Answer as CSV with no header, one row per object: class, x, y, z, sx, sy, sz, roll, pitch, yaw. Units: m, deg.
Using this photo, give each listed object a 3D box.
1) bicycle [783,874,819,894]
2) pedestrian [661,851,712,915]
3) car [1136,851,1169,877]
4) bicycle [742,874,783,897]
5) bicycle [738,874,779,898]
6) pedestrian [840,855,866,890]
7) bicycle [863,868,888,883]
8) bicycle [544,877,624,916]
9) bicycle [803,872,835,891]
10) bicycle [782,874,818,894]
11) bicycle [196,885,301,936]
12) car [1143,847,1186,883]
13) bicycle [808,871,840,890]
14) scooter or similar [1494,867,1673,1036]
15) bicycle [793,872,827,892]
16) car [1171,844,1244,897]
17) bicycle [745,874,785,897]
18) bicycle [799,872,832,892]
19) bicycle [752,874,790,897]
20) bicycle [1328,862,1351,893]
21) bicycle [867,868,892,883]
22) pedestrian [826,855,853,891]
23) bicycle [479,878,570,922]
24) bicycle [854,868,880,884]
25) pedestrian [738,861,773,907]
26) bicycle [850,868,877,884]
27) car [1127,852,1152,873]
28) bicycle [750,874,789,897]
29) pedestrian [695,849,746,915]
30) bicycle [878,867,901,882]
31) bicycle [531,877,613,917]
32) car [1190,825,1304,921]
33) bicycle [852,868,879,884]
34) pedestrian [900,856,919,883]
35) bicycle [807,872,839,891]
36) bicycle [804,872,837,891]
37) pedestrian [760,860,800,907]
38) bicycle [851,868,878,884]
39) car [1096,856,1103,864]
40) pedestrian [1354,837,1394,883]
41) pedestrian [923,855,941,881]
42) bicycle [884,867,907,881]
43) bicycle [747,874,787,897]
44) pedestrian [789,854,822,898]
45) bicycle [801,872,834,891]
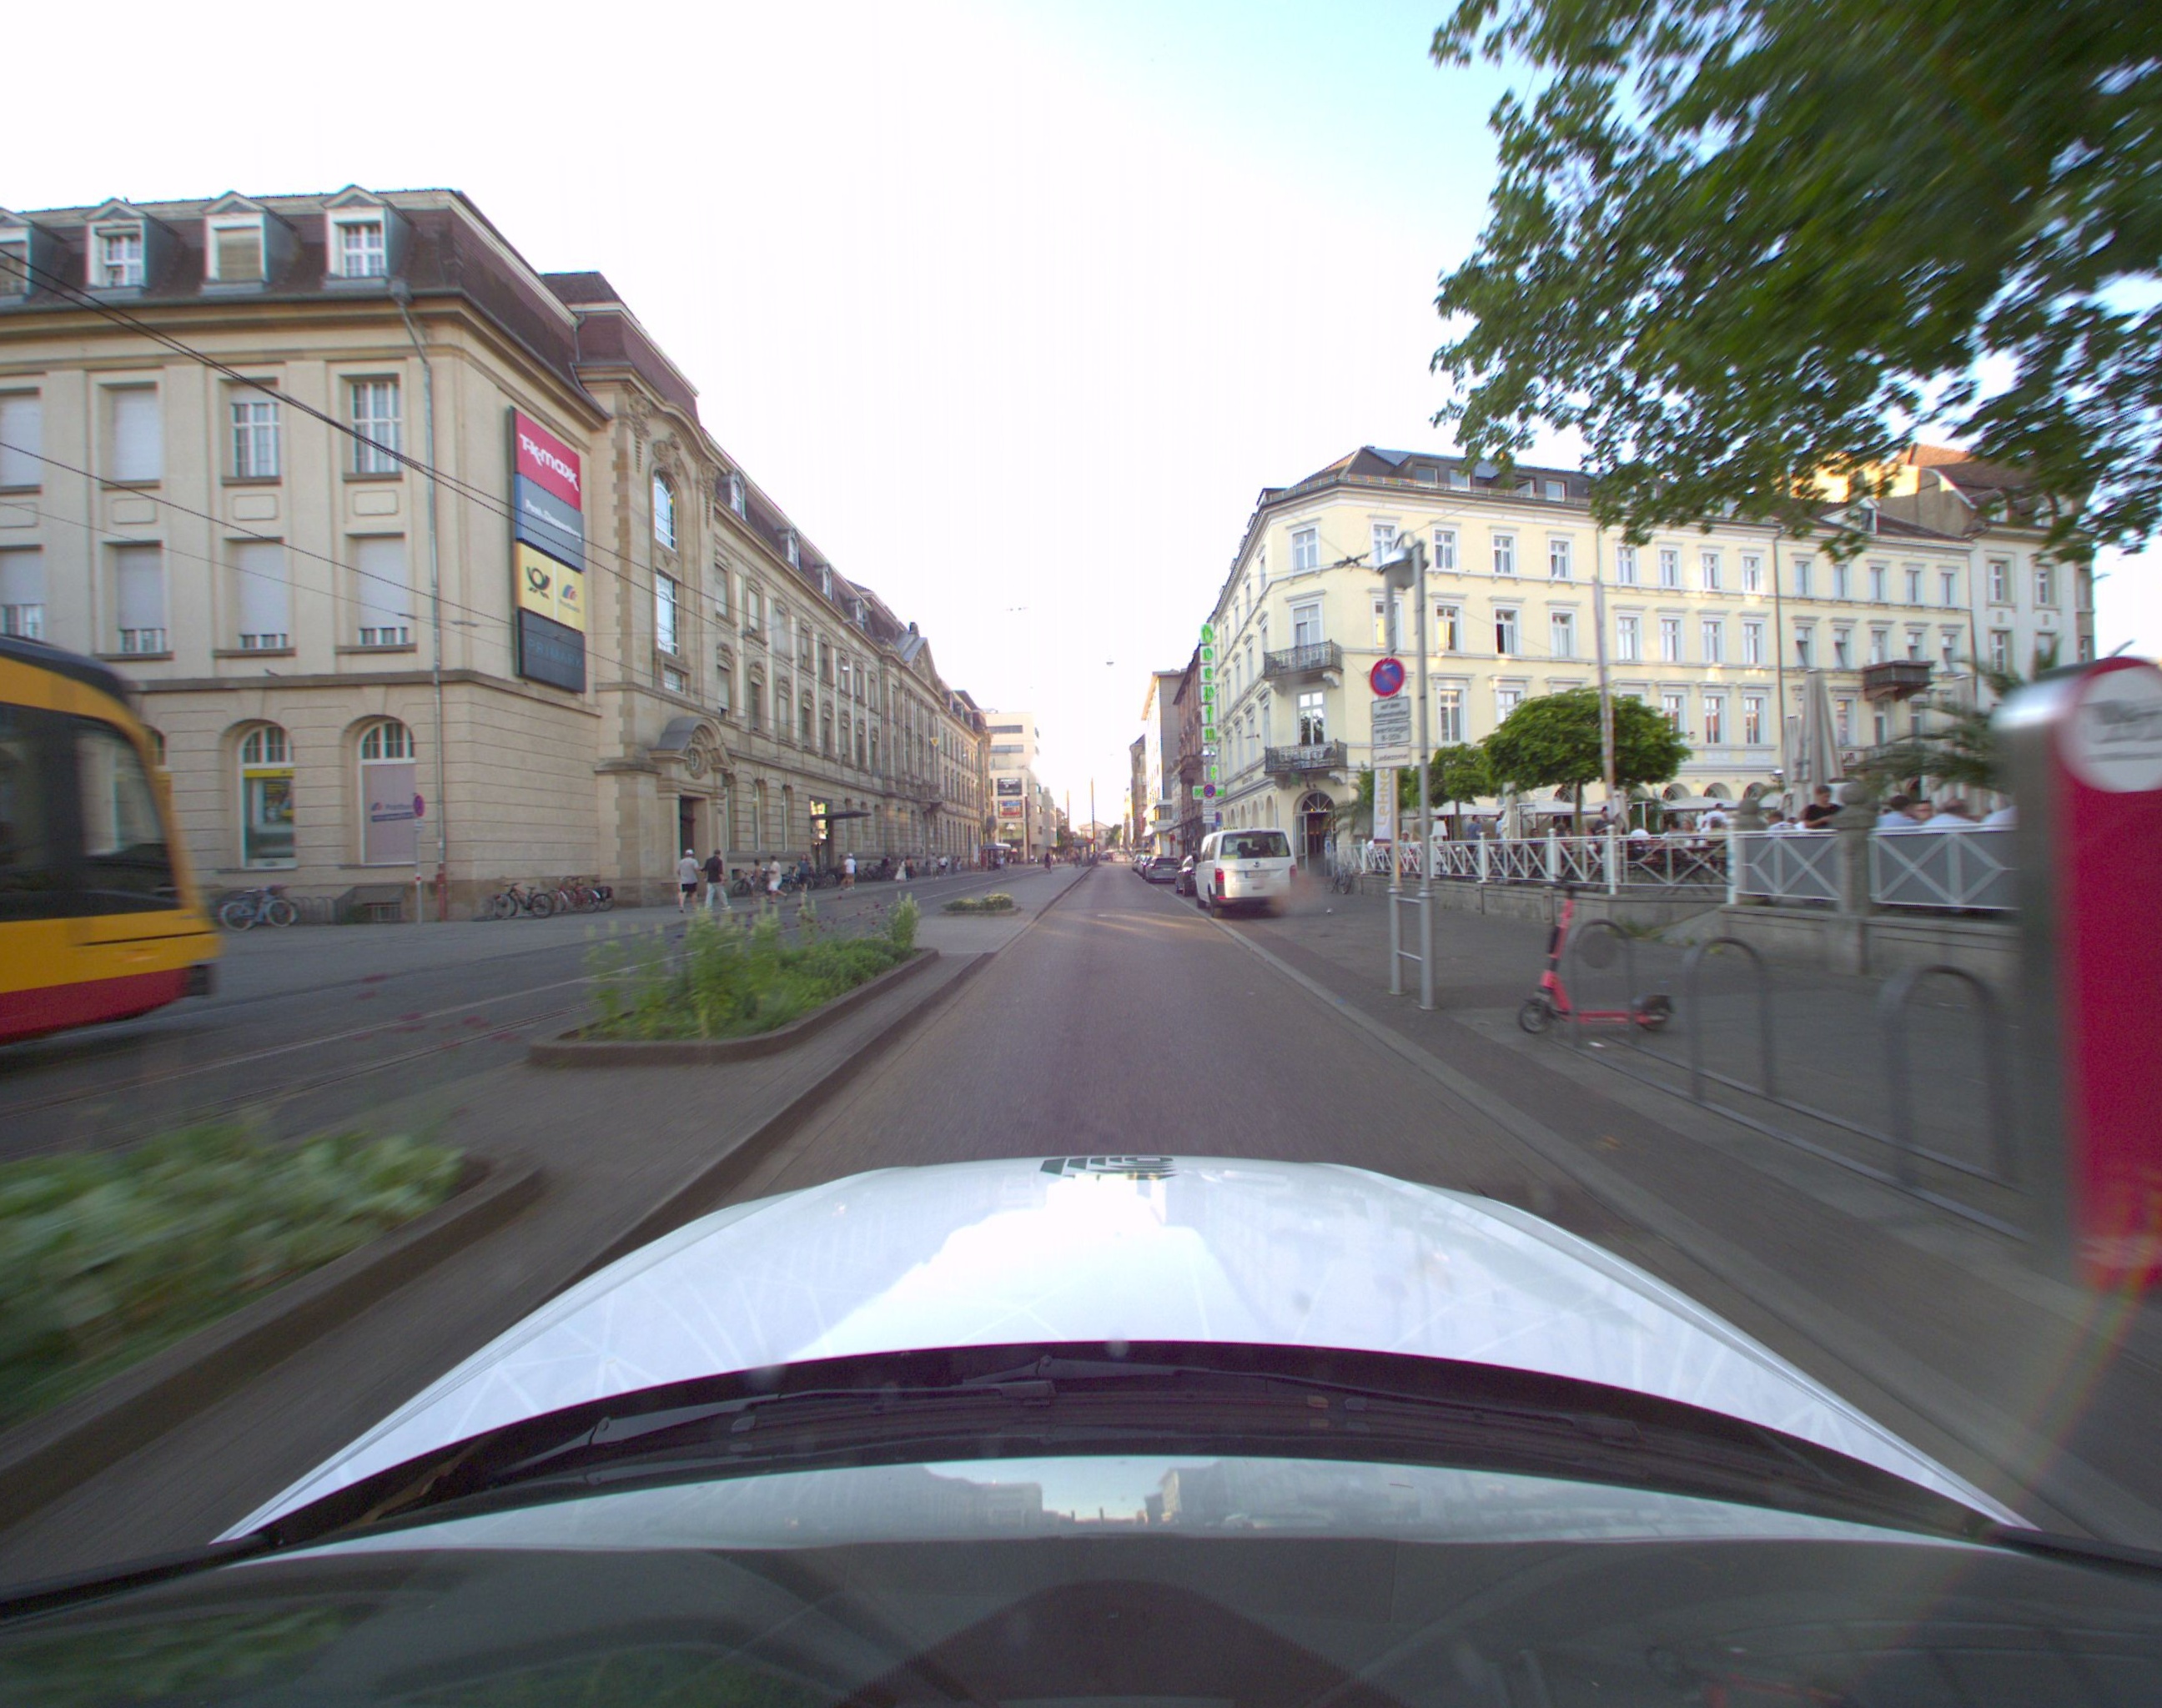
bicycle,-13.728,1.460,39.950,1.583,0.949,0.358,-2,-1,-10
pedestrian,-11.409,0.848,23.583,0.958,1.786,0.907,-2,-2,8
car,4.997,0.714,57.218,1.986,1.667,4.422,-2,-2,2
bicycle,-13.863,1.380,35.452,1.583,0.949,0.358,-2,-2,-10
bicycle,-13.820,1.363,34.909,1.583,0.949,0.358,-2,-1,-10
pedestrian,-11.068,0.880,39.561,0.873,1.653,0.879,-3,-2,15
bicycle,-13.778,1.420,54.620,1.583,0.949,0.358,-2,-2,-10
bicycle,-15.579,1.326,25.555,2.072,1.148,0.574,-2,-2,-3
bicycle,-13.821,1.457,42.987,1.582,0.949,0.358,-2,-2,-10
bicycle,-13.642,1.451,39.513,1.583,0.949,0.358,-2,-2,-10
bicycle,-21.340,1.424,20.944,0.571,1.148,2.101,-2,0,-3
car,4.509,0.583,44.383,1.986,1.761,4.422,-2,-1,2
bicycle,-13.992,1.456,44.343,1.583,0.949,0.358,-2,-2,-10
scooter or similar,3.880,0.743,6.319,1.120,1.216,0.301,-3,0,3
bicycle,-13.838,1.441,41.638,1.583,0.949,0.358,-2,-2,-10
car,4.419,0.585,29.110,1.986,1.667,4.422,-2,-1,2
bicycle,-13.918,1.401,35.850,1.583,0.949,0.358,-2,-2,-10
bicycle,-13.718,1.447,42.110,1.582,0.949,0.358,-2,-2,-10
bicycle,-14.124,1.430,37.114,1.583,0.949,0.358,-2,-2,-10
bicycle,7.869,0.710,24.815,0.249,0.902,1.374,-2,-2,2
bicycle,-13.805,1.453,55.800,1.583,0.949,0.358,-2,-2,-10
pedestrian,-11.930,0.939,40.177,0.864,1.720,0.887,-3,-2,25
bicycle,-15.596,1.286,22.855,2.092,1.148,0.574,-2,-2,-3
bicycle,-13.932,1.437,52.960,1.583,0.949,0.358,-2,-2,-10
pedestrian,-11.085,1.019,27.745,0.750,1.514,0.868,-4,-3,45
bicycle,-13.798,1.422,51.671,1.583,0.949,0.358,-2,-2,-10
car,5.032,0.767,70.376,1.986,1.667,4.422,-2,-2,2
bicycle,-14.047,1.417,36.709,1.583,0.949,0.358,-2,-2,-10
pedestrian,-10.303,0.805,23.272,0.958,1.811,0.907,-2,-2,8
bicycle,-13.503,1.451,57.471,1.583,0.949,0.358,-2,-2,-10
bicycle,-15.538,1.305,24.887,2.092,1.148,0.574,-2,-2,-3
car,3.844,0.418,19.581,1.908,1.981,4.423,-2,-1,2
bicycle,-13.888,1.433,52.525,1.583,0.949,0.358,-2,-2,-10
pedestrian,-10.940,1.004,52.050,1.048,1.686,0.905,-2,-2,-8
bicycle,-13.924,1.463,43.897,1.583,0.949,0.358,-2,-2,-10
bicycle,-13.884,1.465,43.446,1.583,0.949,0.358,-2,-2,-10
pedestrian,-10.108,0.993,27.327,0.710,1.514,1.043,-4,-3,45
bicycle,-13.860,1.432,52.123,1.582,0.949,0.358,-2,-2,-9
car,4.921,1.570,211.839,1.754,1.827,3.571,-2,-2,2
pedestrian,8.507,0.185,23.679,0.820,1.306,0.870,-2,-2,1
pedestrian,-9.646,0.908,52.741,1.048,1.686,0.905,-2,-2,-8
bicycle,-13.391,1.481,58.930,1.583,0.949,0.358,-2,-2,-10
bicycle,-13.984,1.412,36.299,1.583,0.949,0.358,-2,-2,-10
pedestrian,-11.001,0.891,32.568,0.869,1.710,1.132,-2,-2,3
bicycle,-13.769,1.444,42.547,1.583,0.949,0.358,-2,-2,-10
